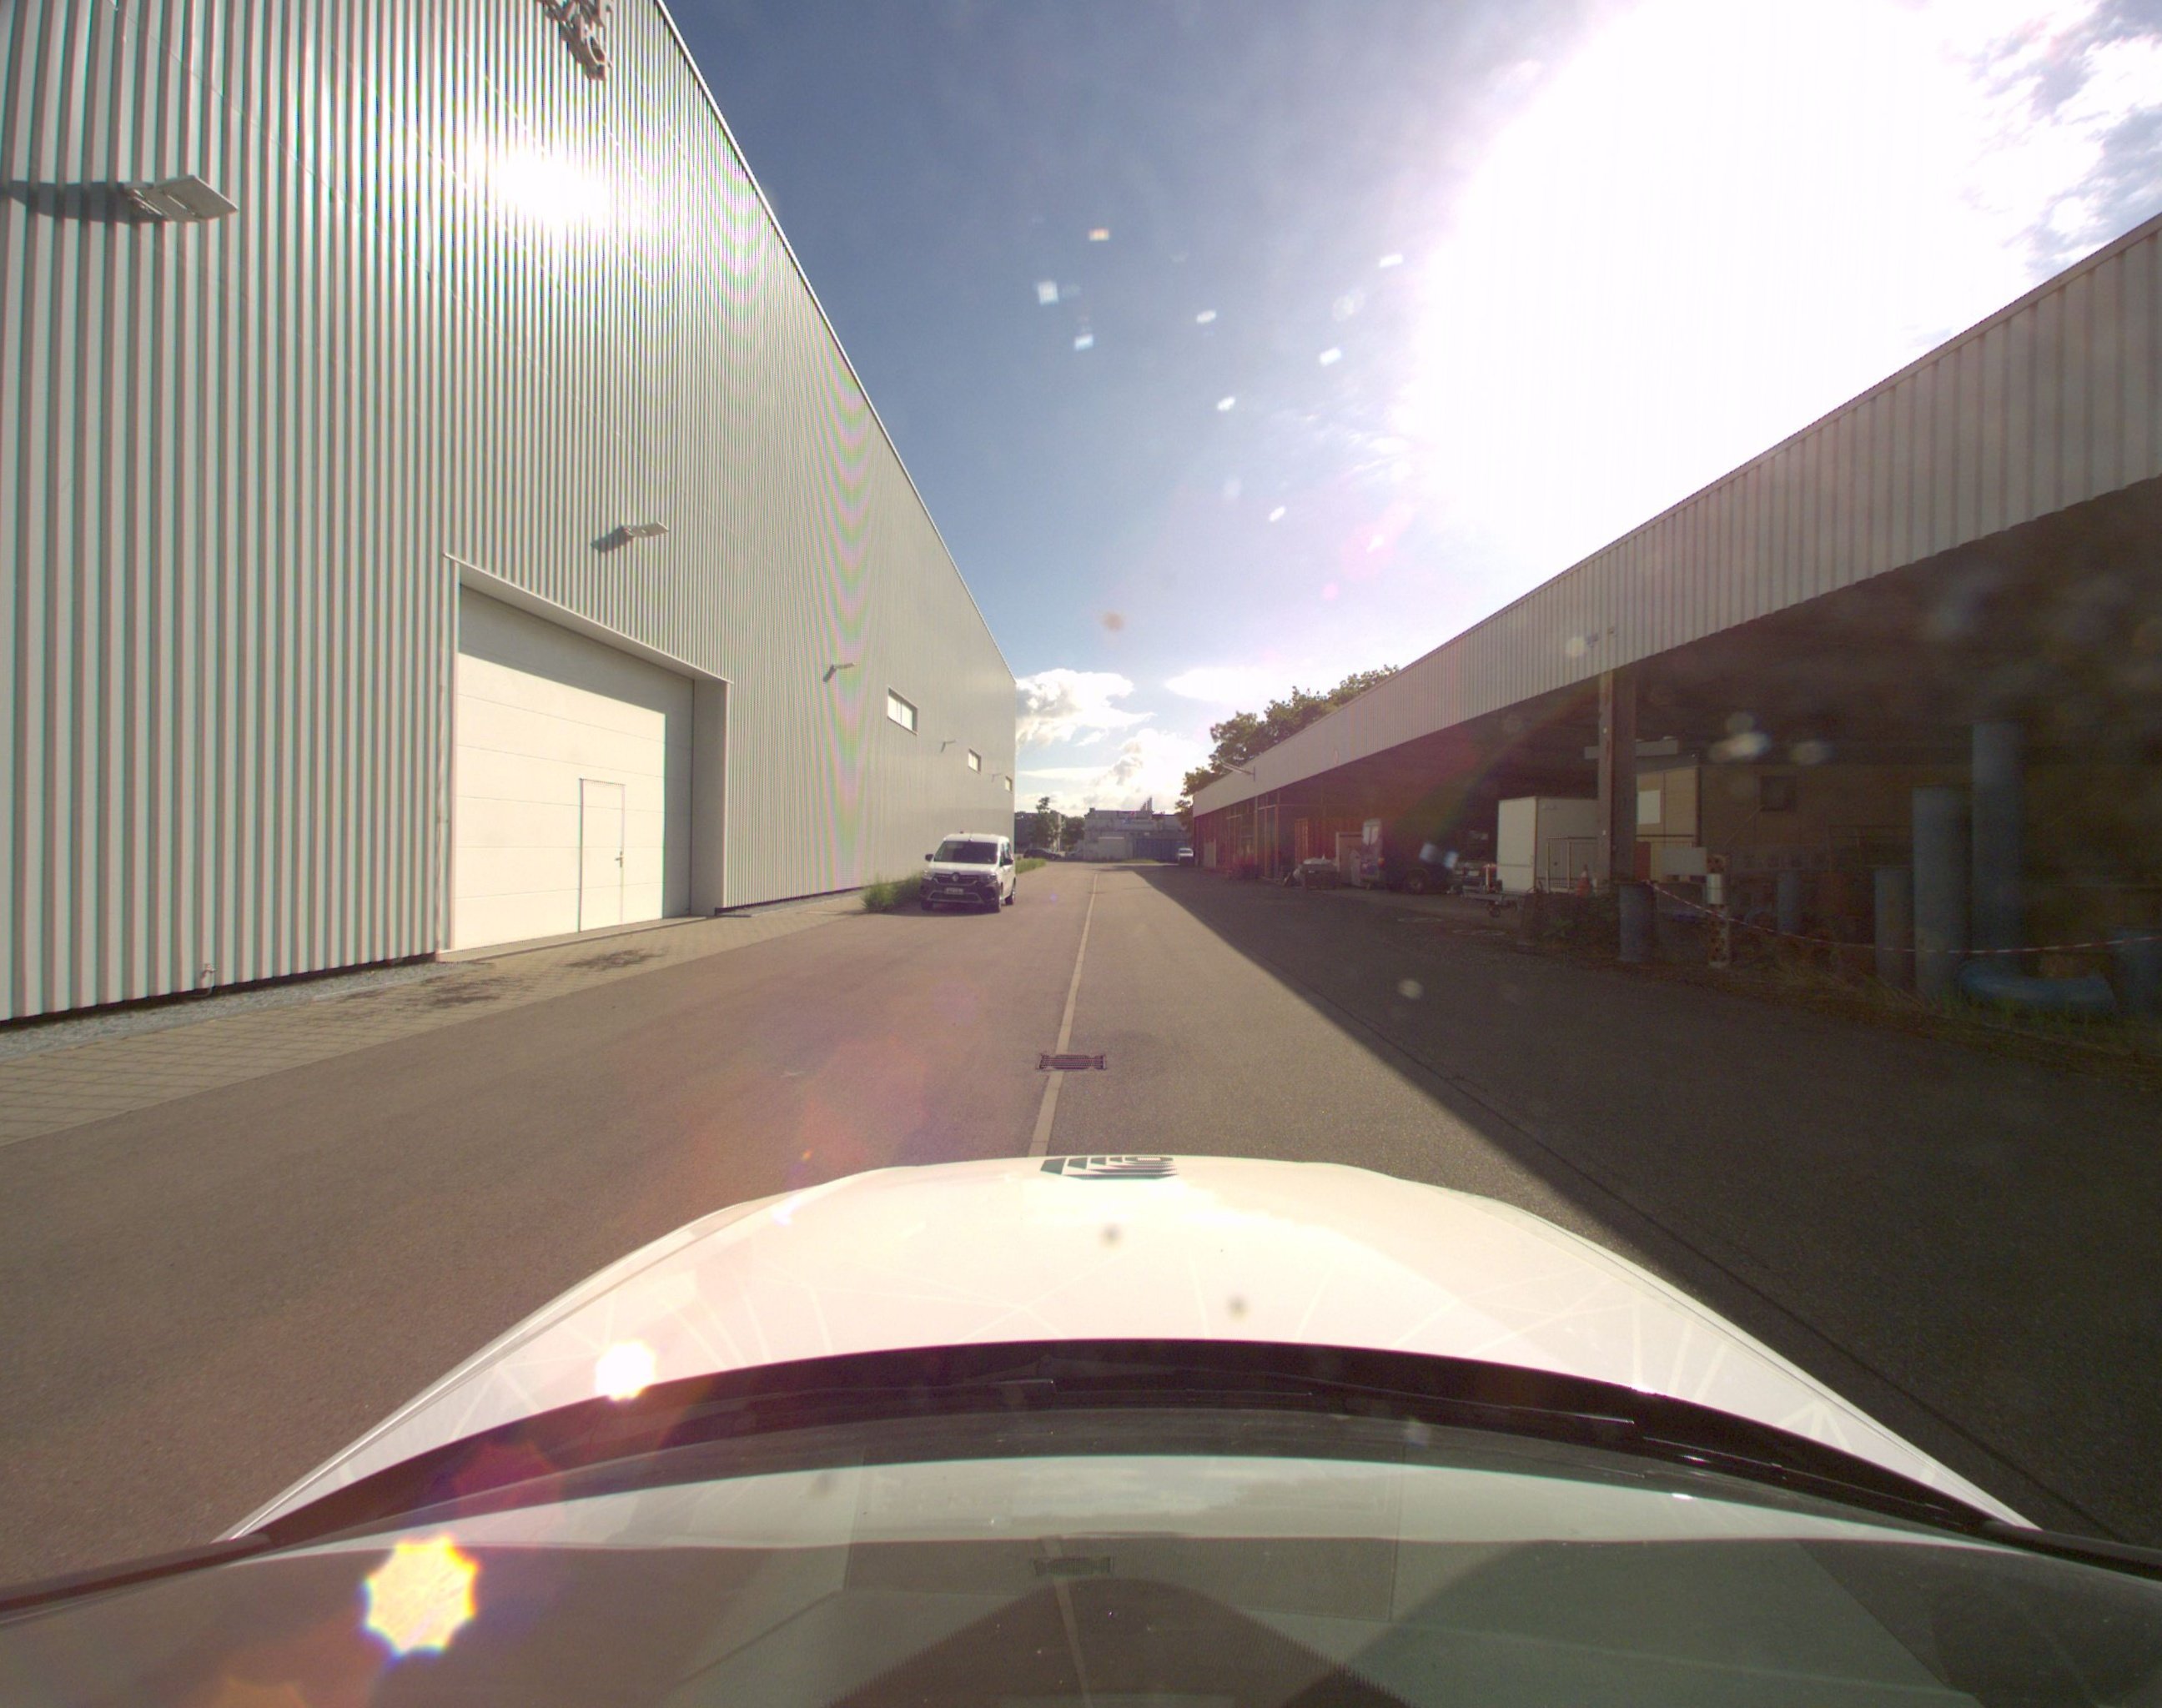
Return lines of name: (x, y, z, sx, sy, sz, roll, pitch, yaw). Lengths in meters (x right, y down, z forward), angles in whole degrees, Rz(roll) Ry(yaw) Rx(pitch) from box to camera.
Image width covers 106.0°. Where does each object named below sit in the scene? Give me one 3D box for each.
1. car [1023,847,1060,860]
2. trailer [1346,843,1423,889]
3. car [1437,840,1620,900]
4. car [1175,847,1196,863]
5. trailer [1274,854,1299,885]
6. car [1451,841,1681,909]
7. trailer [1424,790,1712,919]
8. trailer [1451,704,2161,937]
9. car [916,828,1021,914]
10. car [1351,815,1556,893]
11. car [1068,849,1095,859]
car: (-4.898, -0.017, 102.012, 4.432, 1.531, 1.824, -1, 0, 0)
trailer: (10.253, 0.394, 27.628, 2.028, 1.466, 1.741, -1, 0, 5)
car: (11.898, 0.416, 21.834, 3.953, 1.514, 1.839, 0, 0, -2)
car: (11.392, 0.141, 89.314, 1.971, 1.602, 4.381, -1, 1, 3)
trailer: (7.756, 0.580, 30.775, 0.550, 1.118, 1.546, -1, 0, 0)
car: (11.050, 0.448, 18.761, 4.237, 1.471, 1.869, 0, 0, -2)
trailer: (9.506, 0.014, 16.225, 4.498, 2.342, 2.048, -1, 0, 2)
trailer: (11.998, -0.509, 13.691, 10.230, 3.343, 2.802, -1, 0, 1)
car: (-2.611, 0.373, 19.995, 1.777, 1.816, 4.602, 2, 0, 1)
car: (11.301, 0.006, 24.998, 5.314, 2.281, 2.153, 0, 0, 0)
car: (0.044, -0.026, 129.846, 4.288, 1.457, 1.824, -1, 0, 0)
